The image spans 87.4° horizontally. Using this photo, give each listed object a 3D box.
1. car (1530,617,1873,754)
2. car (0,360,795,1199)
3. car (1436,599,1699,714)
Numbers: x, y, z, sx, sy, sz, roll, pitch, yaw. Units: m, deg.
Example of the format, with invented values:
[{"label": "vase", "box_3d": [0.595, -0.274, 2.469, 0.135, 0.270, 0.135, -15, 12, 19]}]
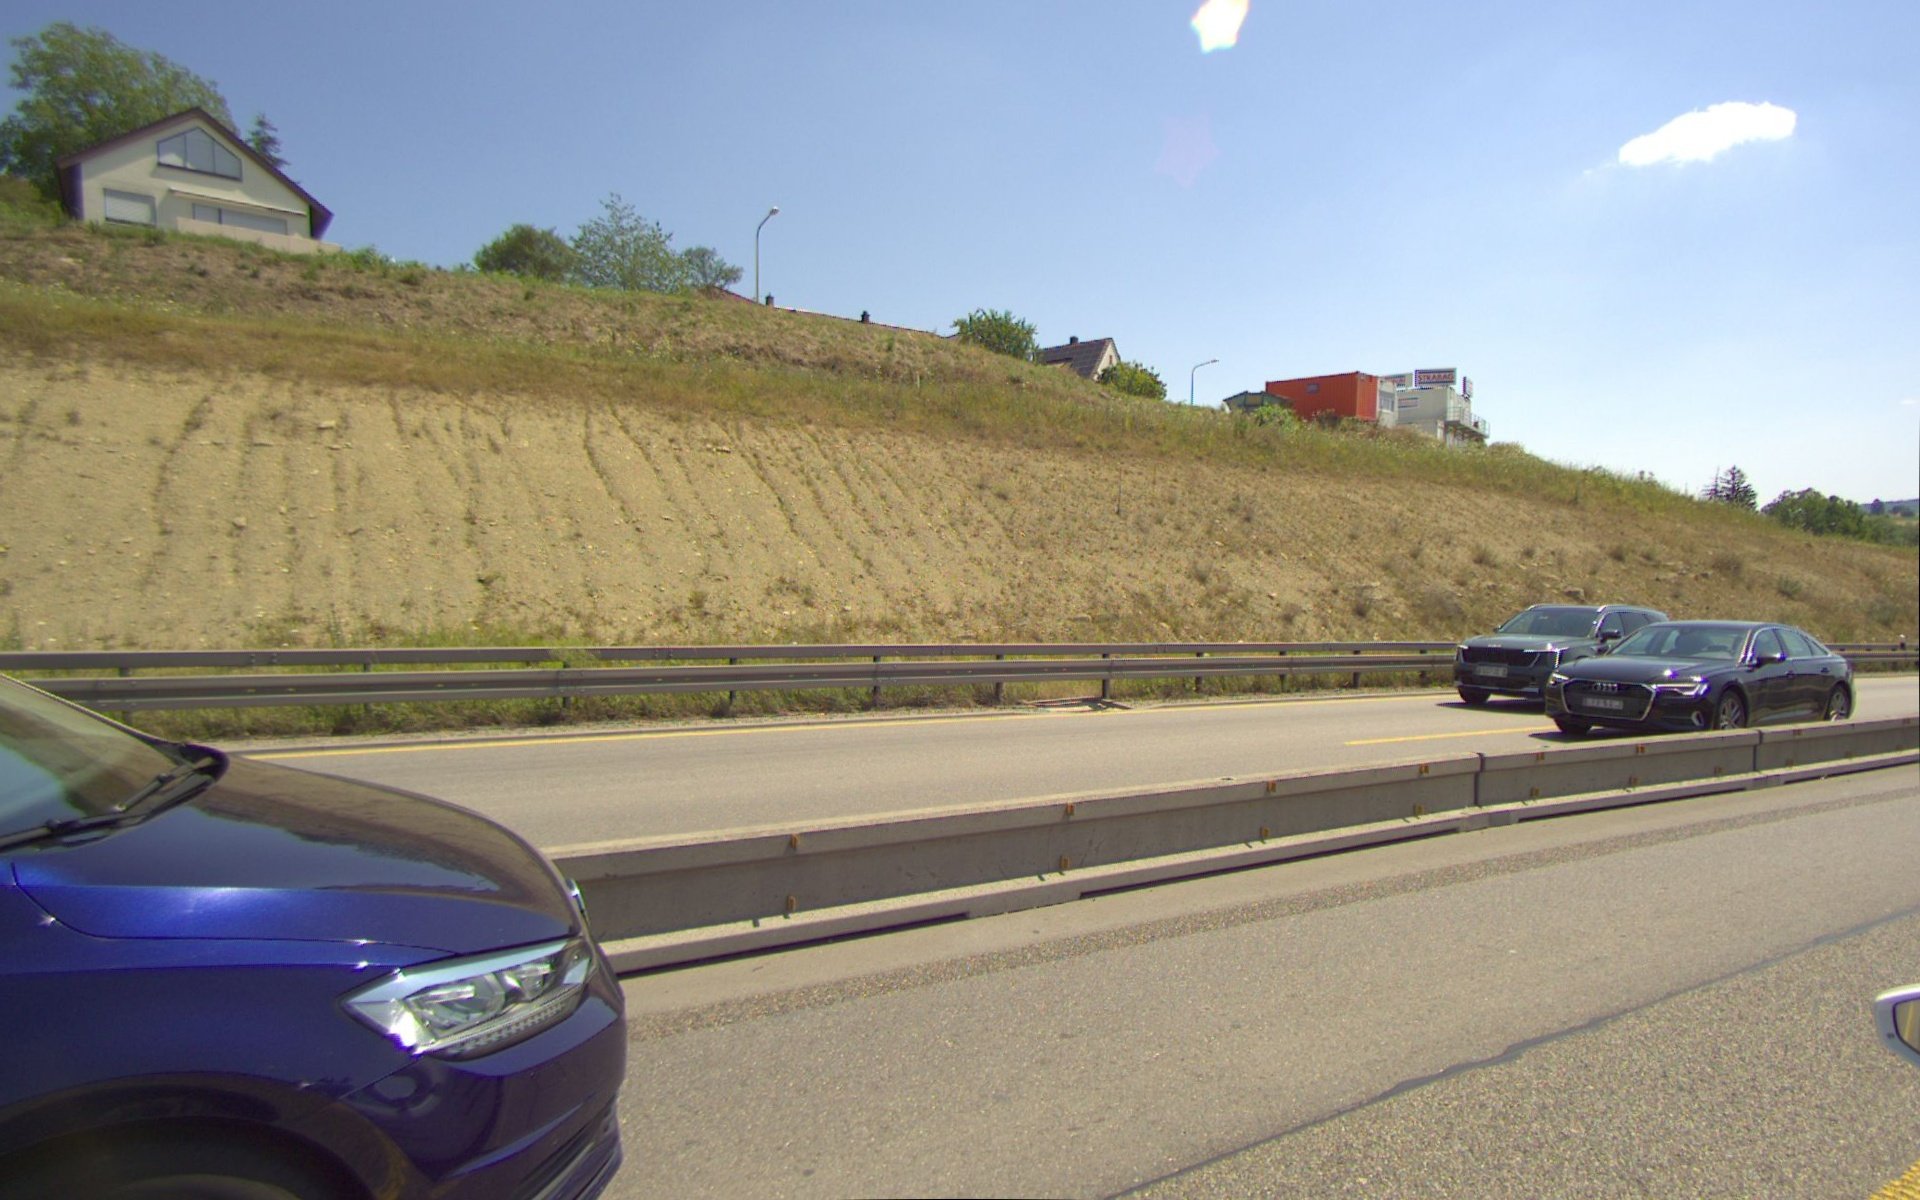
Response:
[{"label": "car", "box_3d": [9.552, 0.973, 12.827, 4.892, 1.446, 1.788, 1, 0, -31]}, {"label": "car", "box_3d": [-2.733, 0.539, 1.539, 4.597, 1.741, 1.767, 0, 1, -30]}, {"label": "car", "box_3d": [10.260, 0.873, 16.876, 4.614, 1.694, 1.845, 1, 0, -31]}]
